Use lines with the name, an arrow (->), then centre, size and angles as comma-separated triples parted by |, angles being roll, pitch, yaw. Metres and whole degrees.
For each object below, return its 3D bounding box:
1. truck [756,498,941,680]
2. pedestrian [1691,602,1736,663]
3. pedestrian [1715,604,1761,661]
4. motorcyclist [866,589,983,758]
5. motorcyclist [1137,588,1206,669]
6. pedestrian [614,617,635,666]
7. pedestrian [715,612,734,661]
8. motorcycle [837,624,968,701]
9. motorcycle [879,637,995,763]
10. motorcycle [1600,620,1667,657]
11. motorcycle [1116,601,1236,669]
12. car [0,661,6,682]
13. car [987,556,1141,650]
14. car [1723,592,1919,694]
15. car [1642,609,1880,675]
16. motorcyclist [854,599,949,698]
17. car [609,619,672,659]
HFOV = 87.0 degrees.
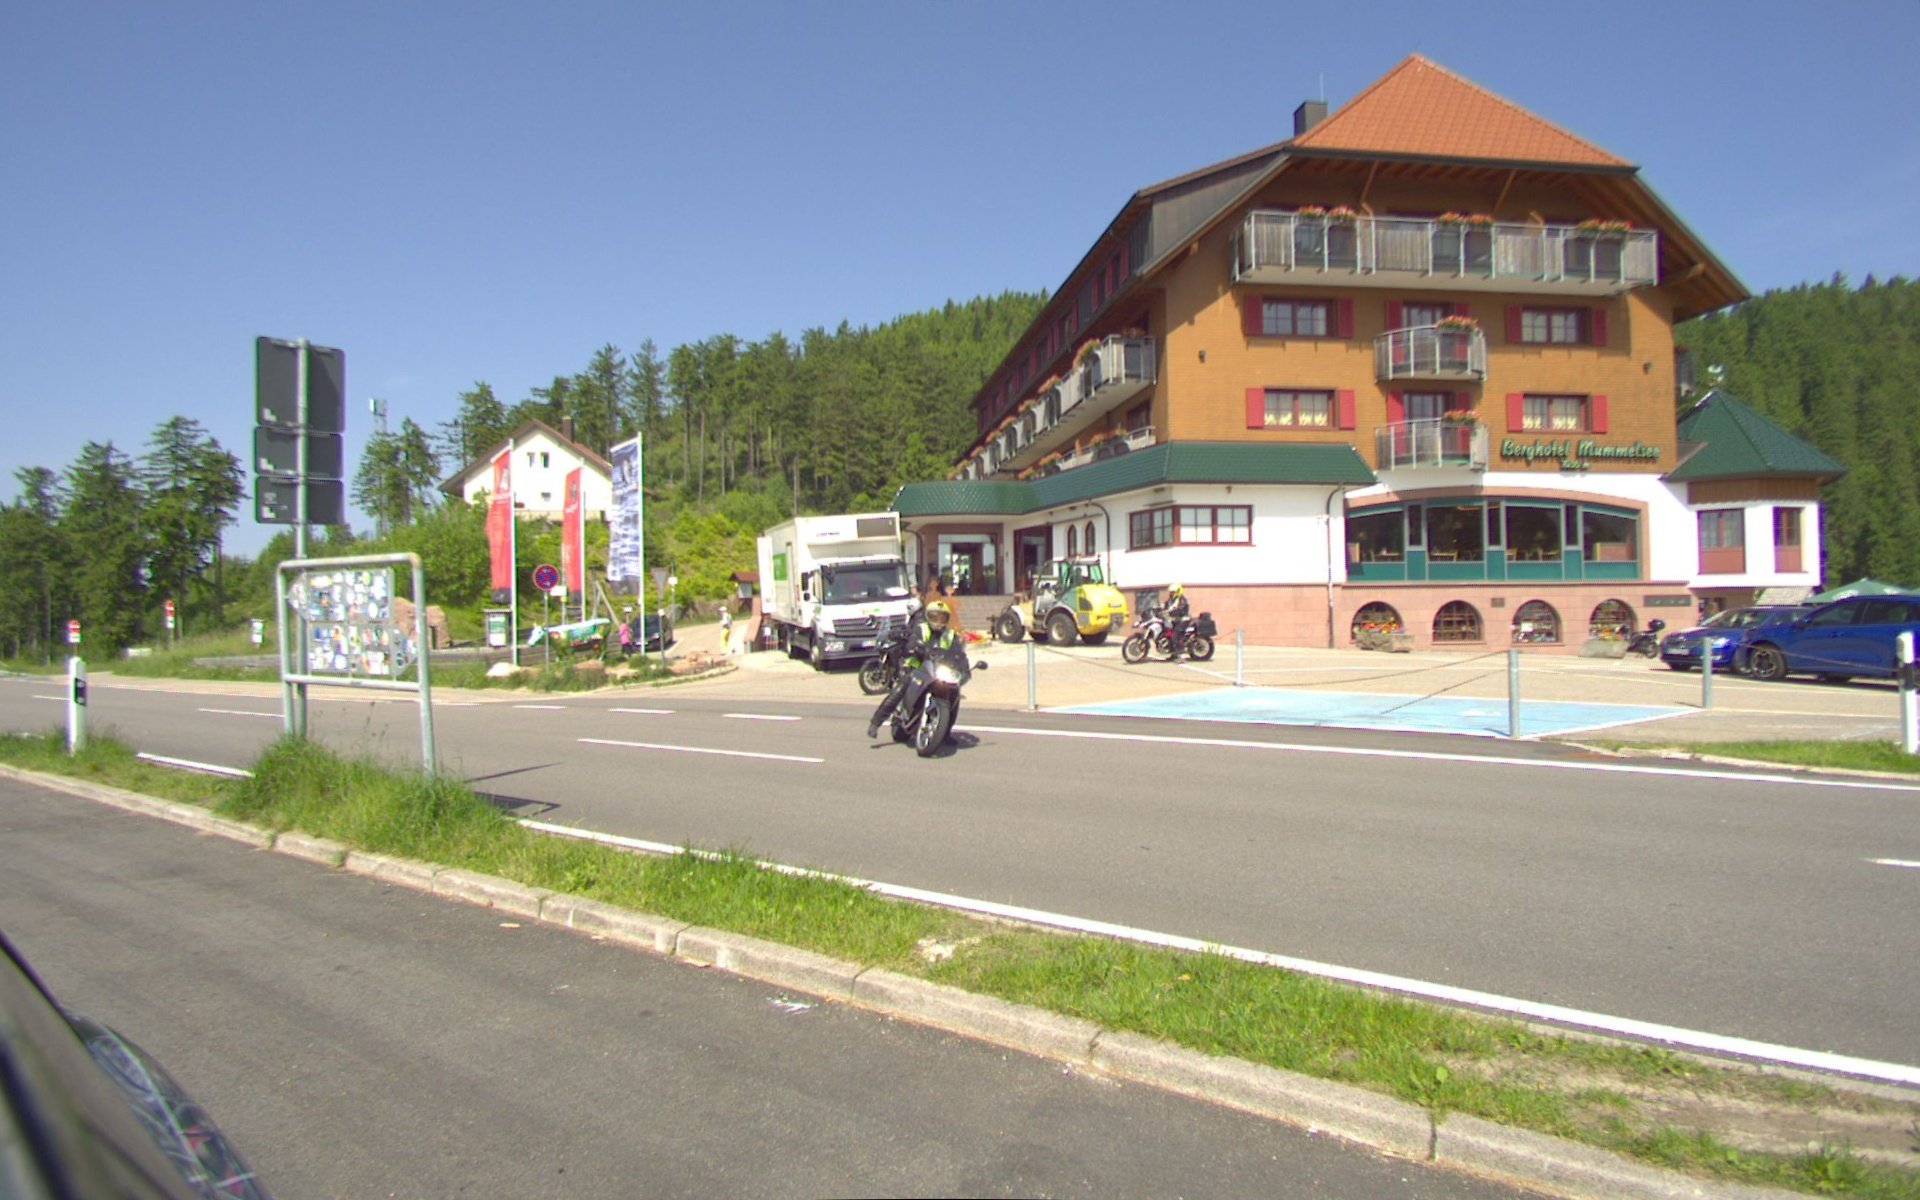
truck -> -3.334, -0.331, 27.243 | 3.018, 4.001, 8.799 | -3, 1, -18
pedestrian -> 20.748, 0.885, 27.879 | 0.692, 1.645, 0.626 | -1, -2, -2
pedestrian -> 20.856, 0.859, 27.137 | 0.692, 1.500, 0.626 | -1, -2, -2
motorcyclist -> -0.417, 0.760, 10.954 | 1.012, 1.688, 1.296 | -1, -2, -12
motorcyclist -> 4.742, 0.610, 22.727 | 1.229, 1.732, 1.066 | -2, 1, -4
pedestrian -> -12.201, 1.506, 36.800 | 0.687, 1.729, 0.801 | 0, -2, -19
pedestrian -> -8.206, 1.276, 35.281 | 0.565, 1.702, 0.655 | 0, -2, -19
motorcycle -> -1.059, 1.131, 18.902 | 2.239, 1.266, 0.881 | -2, -1, -32
motorcycle -> -0.309, 1.013, 11.024 | 0.811, 1.186, 2.292 | -1, -2, -12
motorcycle -> 21.051, 1.201, 31.658 | 0.473, 0.992, 1.796 | -6, 4, -18
motorcycle -> 4.836, 0.769, 22.789 | 2.408, 1.417, 1.007 | -2, 1, -4
car -> -89.646, 6.466, 91.417 | 1.929, 1.896, 4.672 | -3, -5, 37
car -> 2.955, 0.071, 29.213 | 3.998, 2.515, 1.973 | 1, -1, 41
car -> 16.438, 0.709, 17.884 | 1.908, 1.676, 4.555 | -1, -1, -11
car -> 17.141, 0.883, 21.736 | 3.936, 1.307, 1.717 | -1, -2, -8
motorcyclist -> -1.090, 0.873, 18.869 | 1.427, 1.730, 0.928 | -2, -1, -32
car -> -13.959, 1.670, 44.458 | 1.851, 1.364, 4.006 | 0, 3, -5
